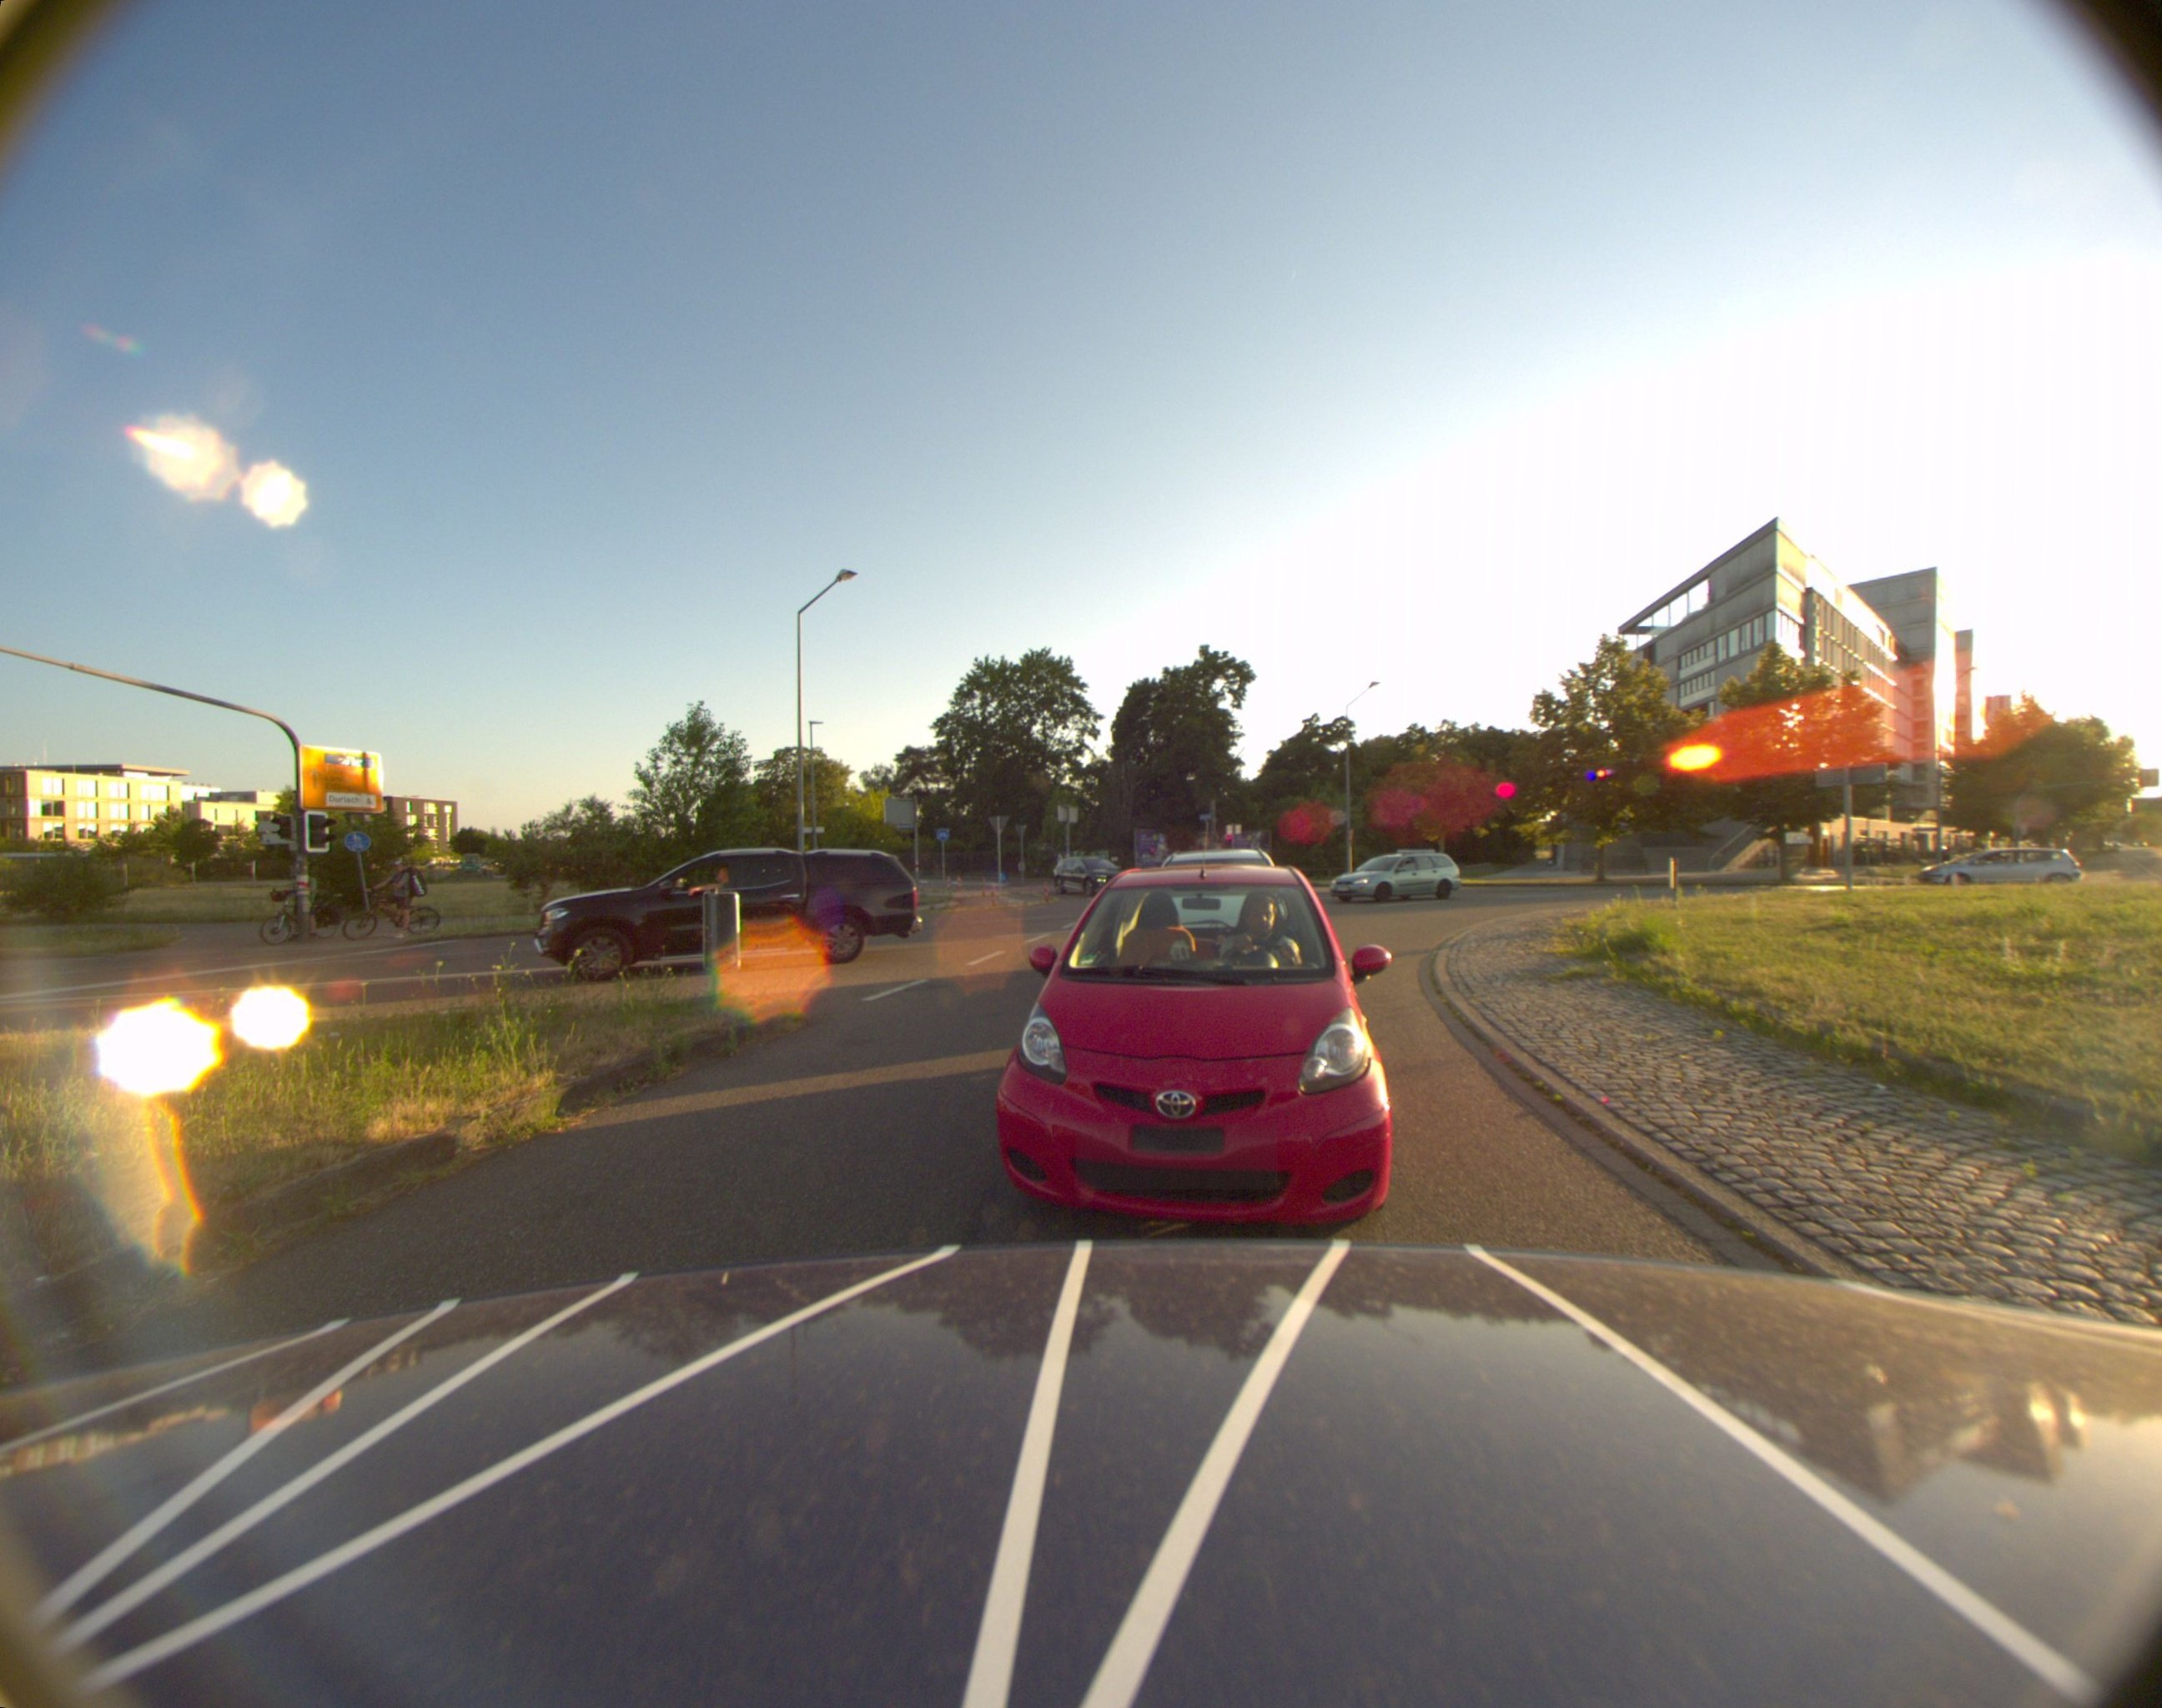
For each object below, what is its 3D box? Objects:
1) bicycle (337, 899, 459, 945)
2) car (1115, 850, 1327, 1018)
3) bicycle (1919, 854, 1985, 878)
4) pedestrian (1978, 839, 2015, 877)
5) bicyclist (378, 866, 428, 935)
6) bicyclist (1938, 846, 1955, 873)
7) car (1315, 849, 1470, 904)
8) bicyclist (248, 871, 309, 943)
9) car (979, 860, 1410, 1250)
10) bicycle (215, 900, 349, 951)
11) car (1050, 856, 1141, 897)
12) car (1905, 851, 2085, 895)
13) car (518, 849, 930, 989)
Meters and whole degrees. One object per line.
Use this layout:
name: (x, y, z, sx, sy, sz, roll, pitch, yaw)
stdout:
bicycle: (-17.162, 1.678, 19.159, 0.708, 0.957, 2.149, -1, 0, 26)
car: (1.656, 0.771, 9.443, 1.997, 1.597, 4.201, -1, 0, 9)
bicycle: (47.089, 0.627, 41.113, 0.744, 1.237, 2.341, -2, 1, -41)
pedestrian: (49.369, 0.196, 40.983, 0.776, 2.002, 0.998, -2, 1, -11)
bicyclist: (-17.146, 1.163, 19.219, 0.723, 1.680, 0.690, -1, 1, 28)
bicyclist: (46.977, 0.308, 41.255, 0.693, 1.432, 0.610, -2, 1, -42)
car: (9.837, 0.658, 23.986, 4.573, 1.550, 1.830, -1, 1, -23)
bicyclist: (-19.331, 1.255, 18.311, 0.724, 1.680, 0.690, -1, 1, 12)
car: (0.843, 0.789, 4.990, 1.687, 1.412, 4.004, -1, 0, 13)
bicycle: (-19.273, 1.696, 18.399, 0.708, 0.958, 2.109, -1, 2, 14)
car: (0.534, 0.888, 32.125, 2.003, 1.588, 4.304, -1, 0, -28)
car: (34.310, 0.699, 28.685, 3.882, 1.571, 1.958, -1, 0, 28)
car: (-5.198, 0.858, 11.746, 5.312, 1.801, 1.997, 0, -2, -23)
